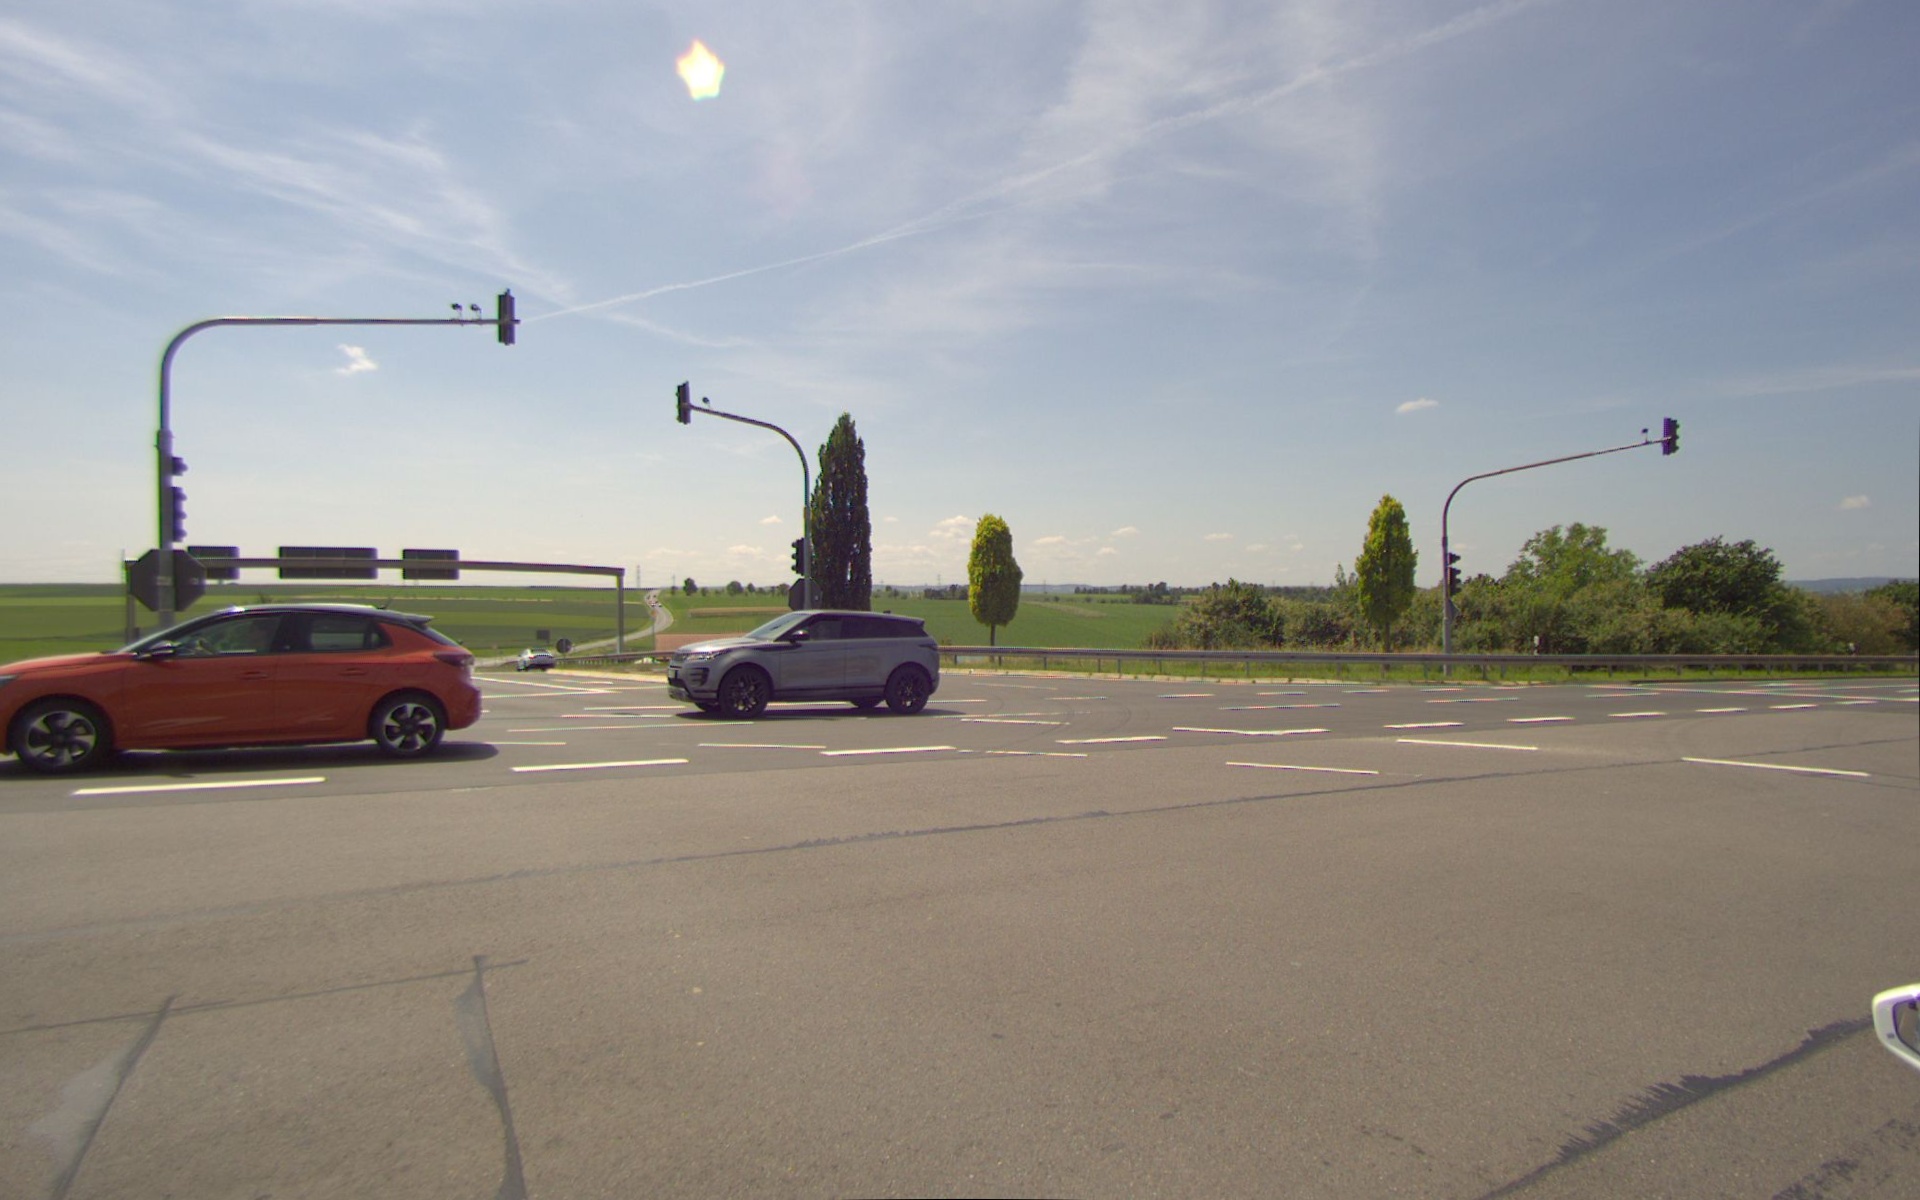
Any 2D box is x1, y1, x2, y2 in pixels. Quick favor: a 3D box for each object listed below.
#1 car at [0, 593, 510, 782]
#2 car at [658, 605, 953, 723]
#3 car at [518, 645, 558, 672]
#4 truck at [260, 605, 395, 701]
[{"bbox_3d":[-6.586,0.776,9.635,4.016,1.516,1.637,2,-3,-29],"label":"car"},{"bbox_3d":[-2.368,0.999,15.775,4.276,1.645,1.637,3,-3,-29],"label":"car"},{"bbox_3d":[-27.640,3.802,65.754,1.616,1.479,4.452,2,0,-33],"label":"car"},{"bbox_3d":[-13.563,1.087,21.390,1.982,1.780,5.227,2,-3,-37],"label":"truck"}]
